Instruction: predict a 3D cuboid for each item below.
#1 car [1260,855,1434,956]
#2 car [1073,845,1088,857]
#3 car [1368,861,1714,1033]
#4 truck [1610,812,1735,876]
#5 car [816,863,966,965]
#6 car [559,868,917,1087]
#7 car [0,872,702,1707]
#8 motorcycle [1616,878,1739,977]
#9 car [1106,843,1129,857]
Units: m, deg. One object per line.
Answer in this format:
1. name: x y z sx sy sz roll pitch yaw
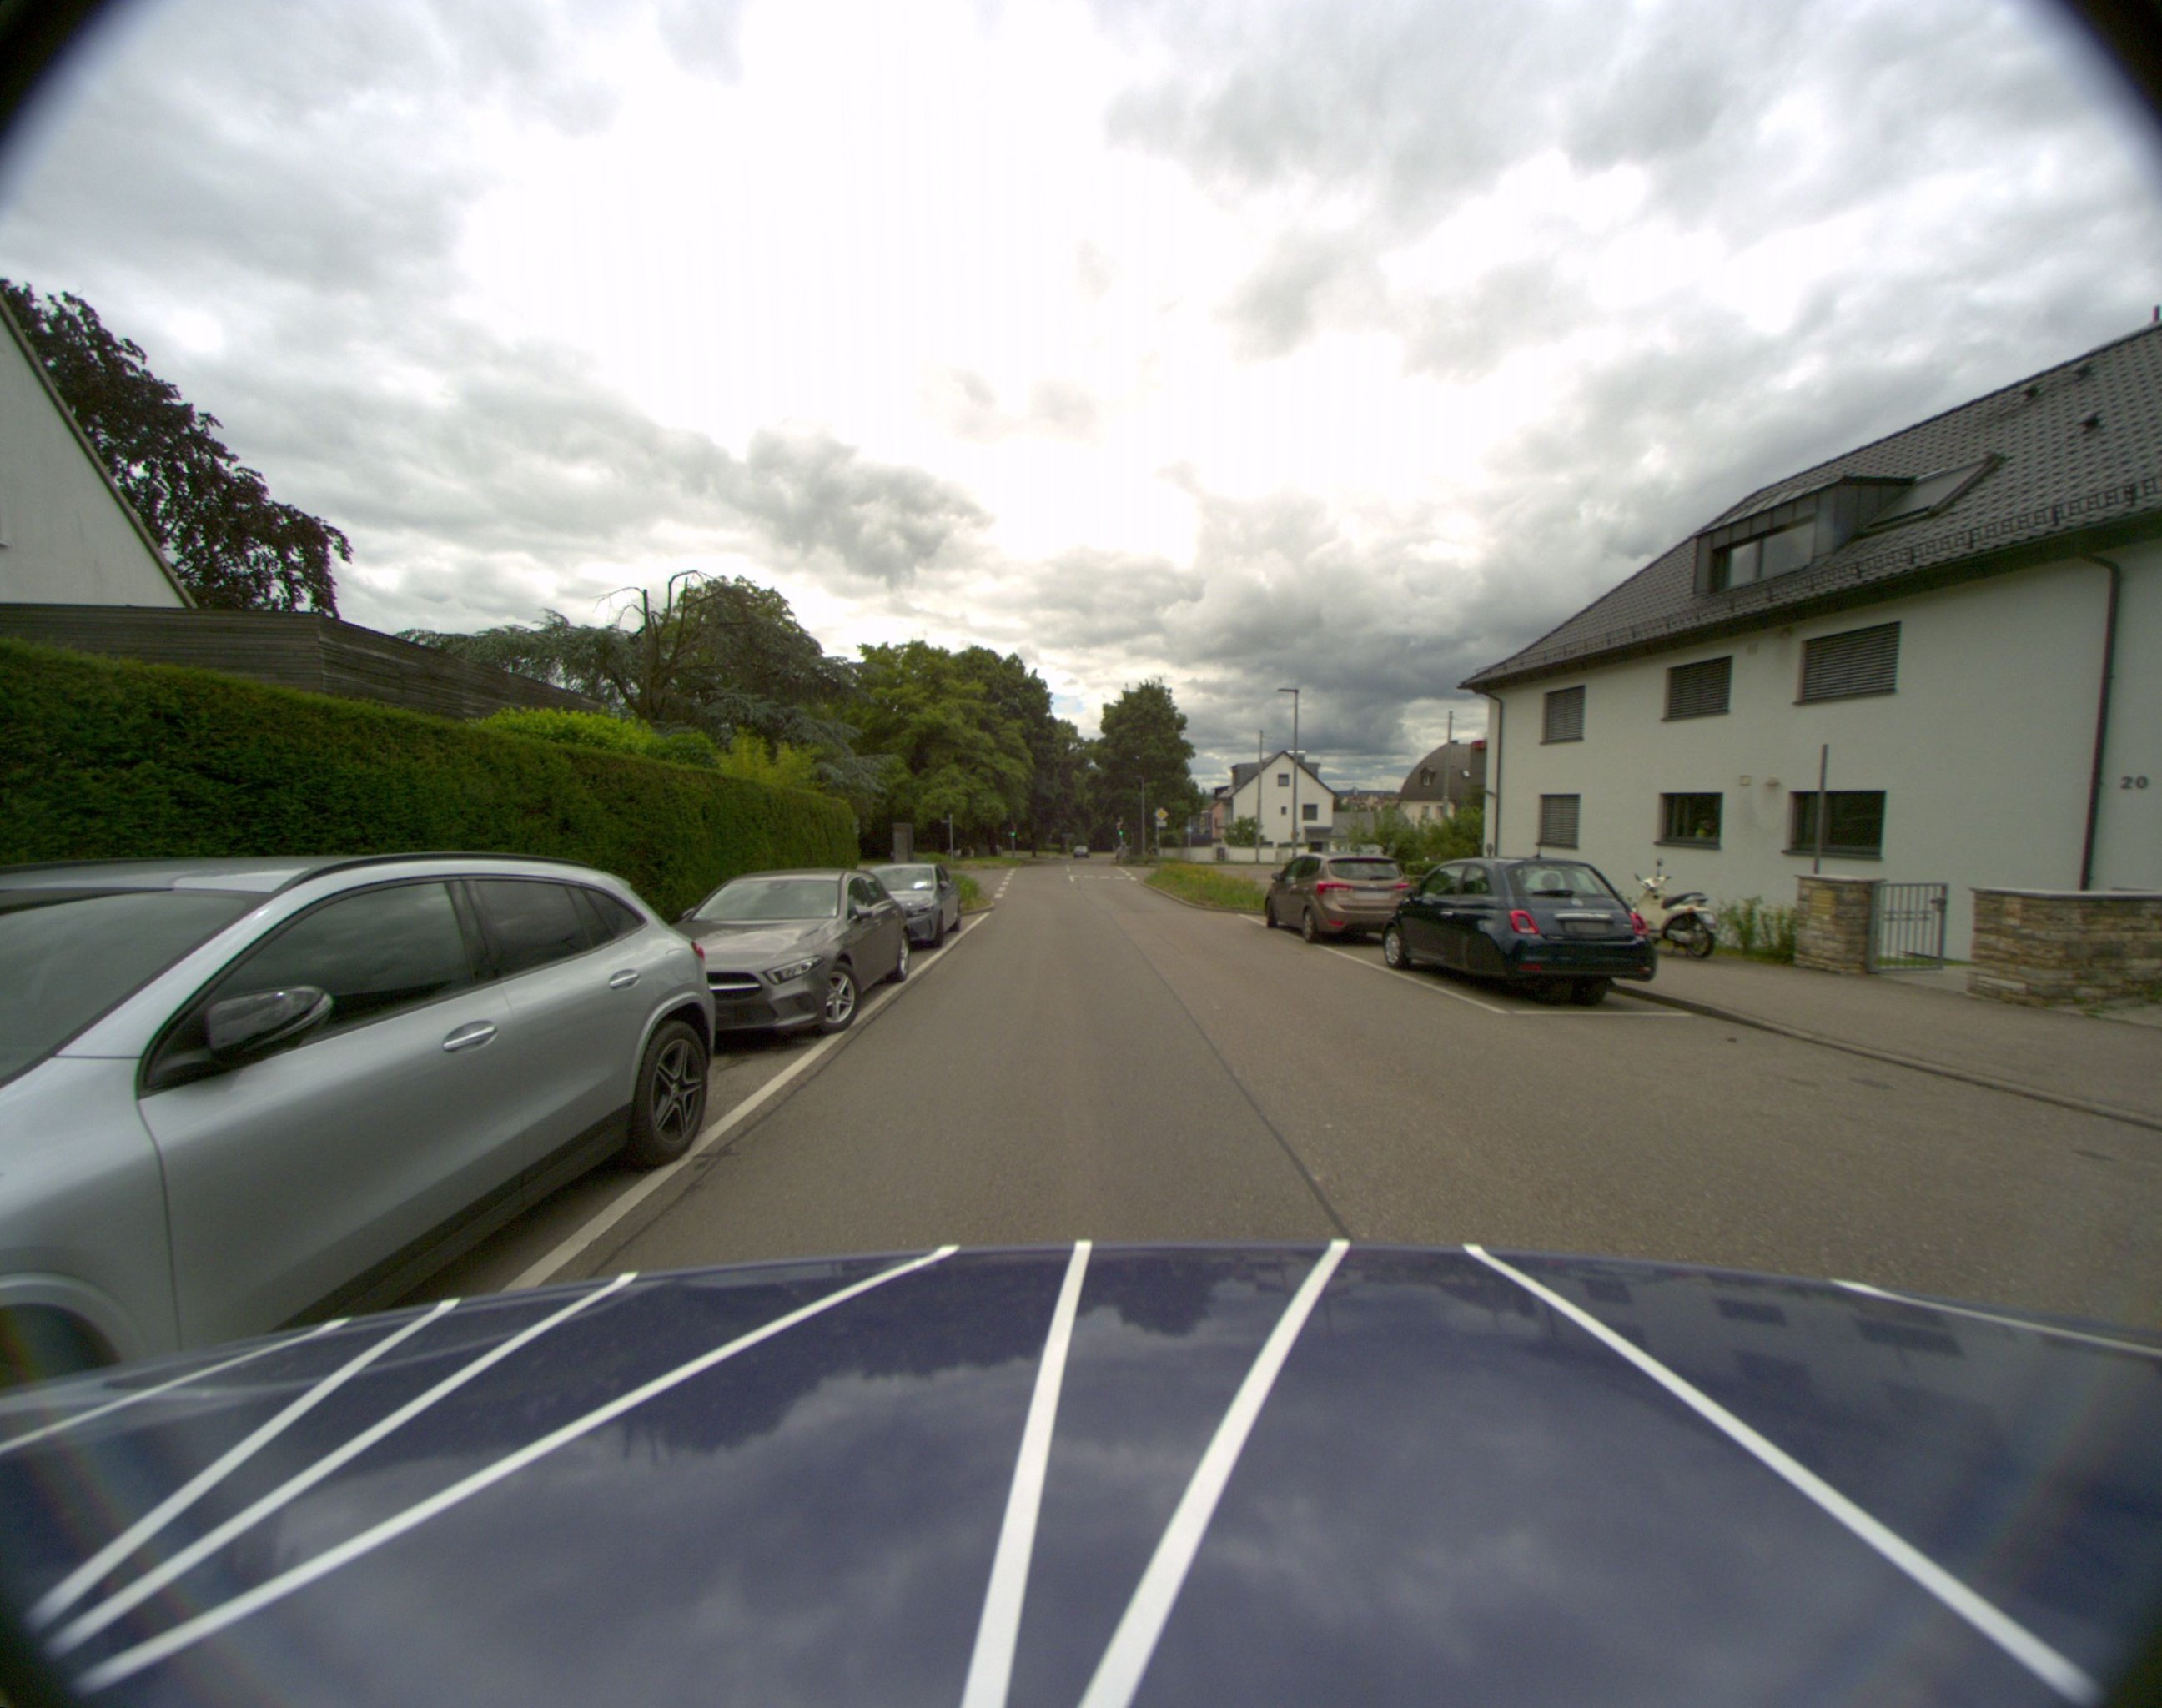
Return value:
1. car: 4.753 0.840 14.216 1.882 1.576 3.871 0 1 0
2. car: -0.042 -0.350 95.908 1.568 1.504 3.398 0 1 5
3. car: 4.953 0.888 8.842 1.882 1.528 3.506 0 1 0
4. truck: 44.398 -0.750 57.111 7.959 4.528 3.148 1 4 -18
5. car: -3.285 0.968 13.941 1.860 1.456 3.998 -1 1 -2
6. car: -3.004 0.958 7.767 1.860 1.456 4.170 -1 1 -2
7. car: -2.977 0.942 2.093 1.860 1.573 4.170 -1 1 -2
8. motorcycle: 8.280 0.971 10.654 0.430 1.154 1.863 1 2 7
9. car: 4.602 -0.557 94.911 1.996 1.544 4.003 2 3 14
